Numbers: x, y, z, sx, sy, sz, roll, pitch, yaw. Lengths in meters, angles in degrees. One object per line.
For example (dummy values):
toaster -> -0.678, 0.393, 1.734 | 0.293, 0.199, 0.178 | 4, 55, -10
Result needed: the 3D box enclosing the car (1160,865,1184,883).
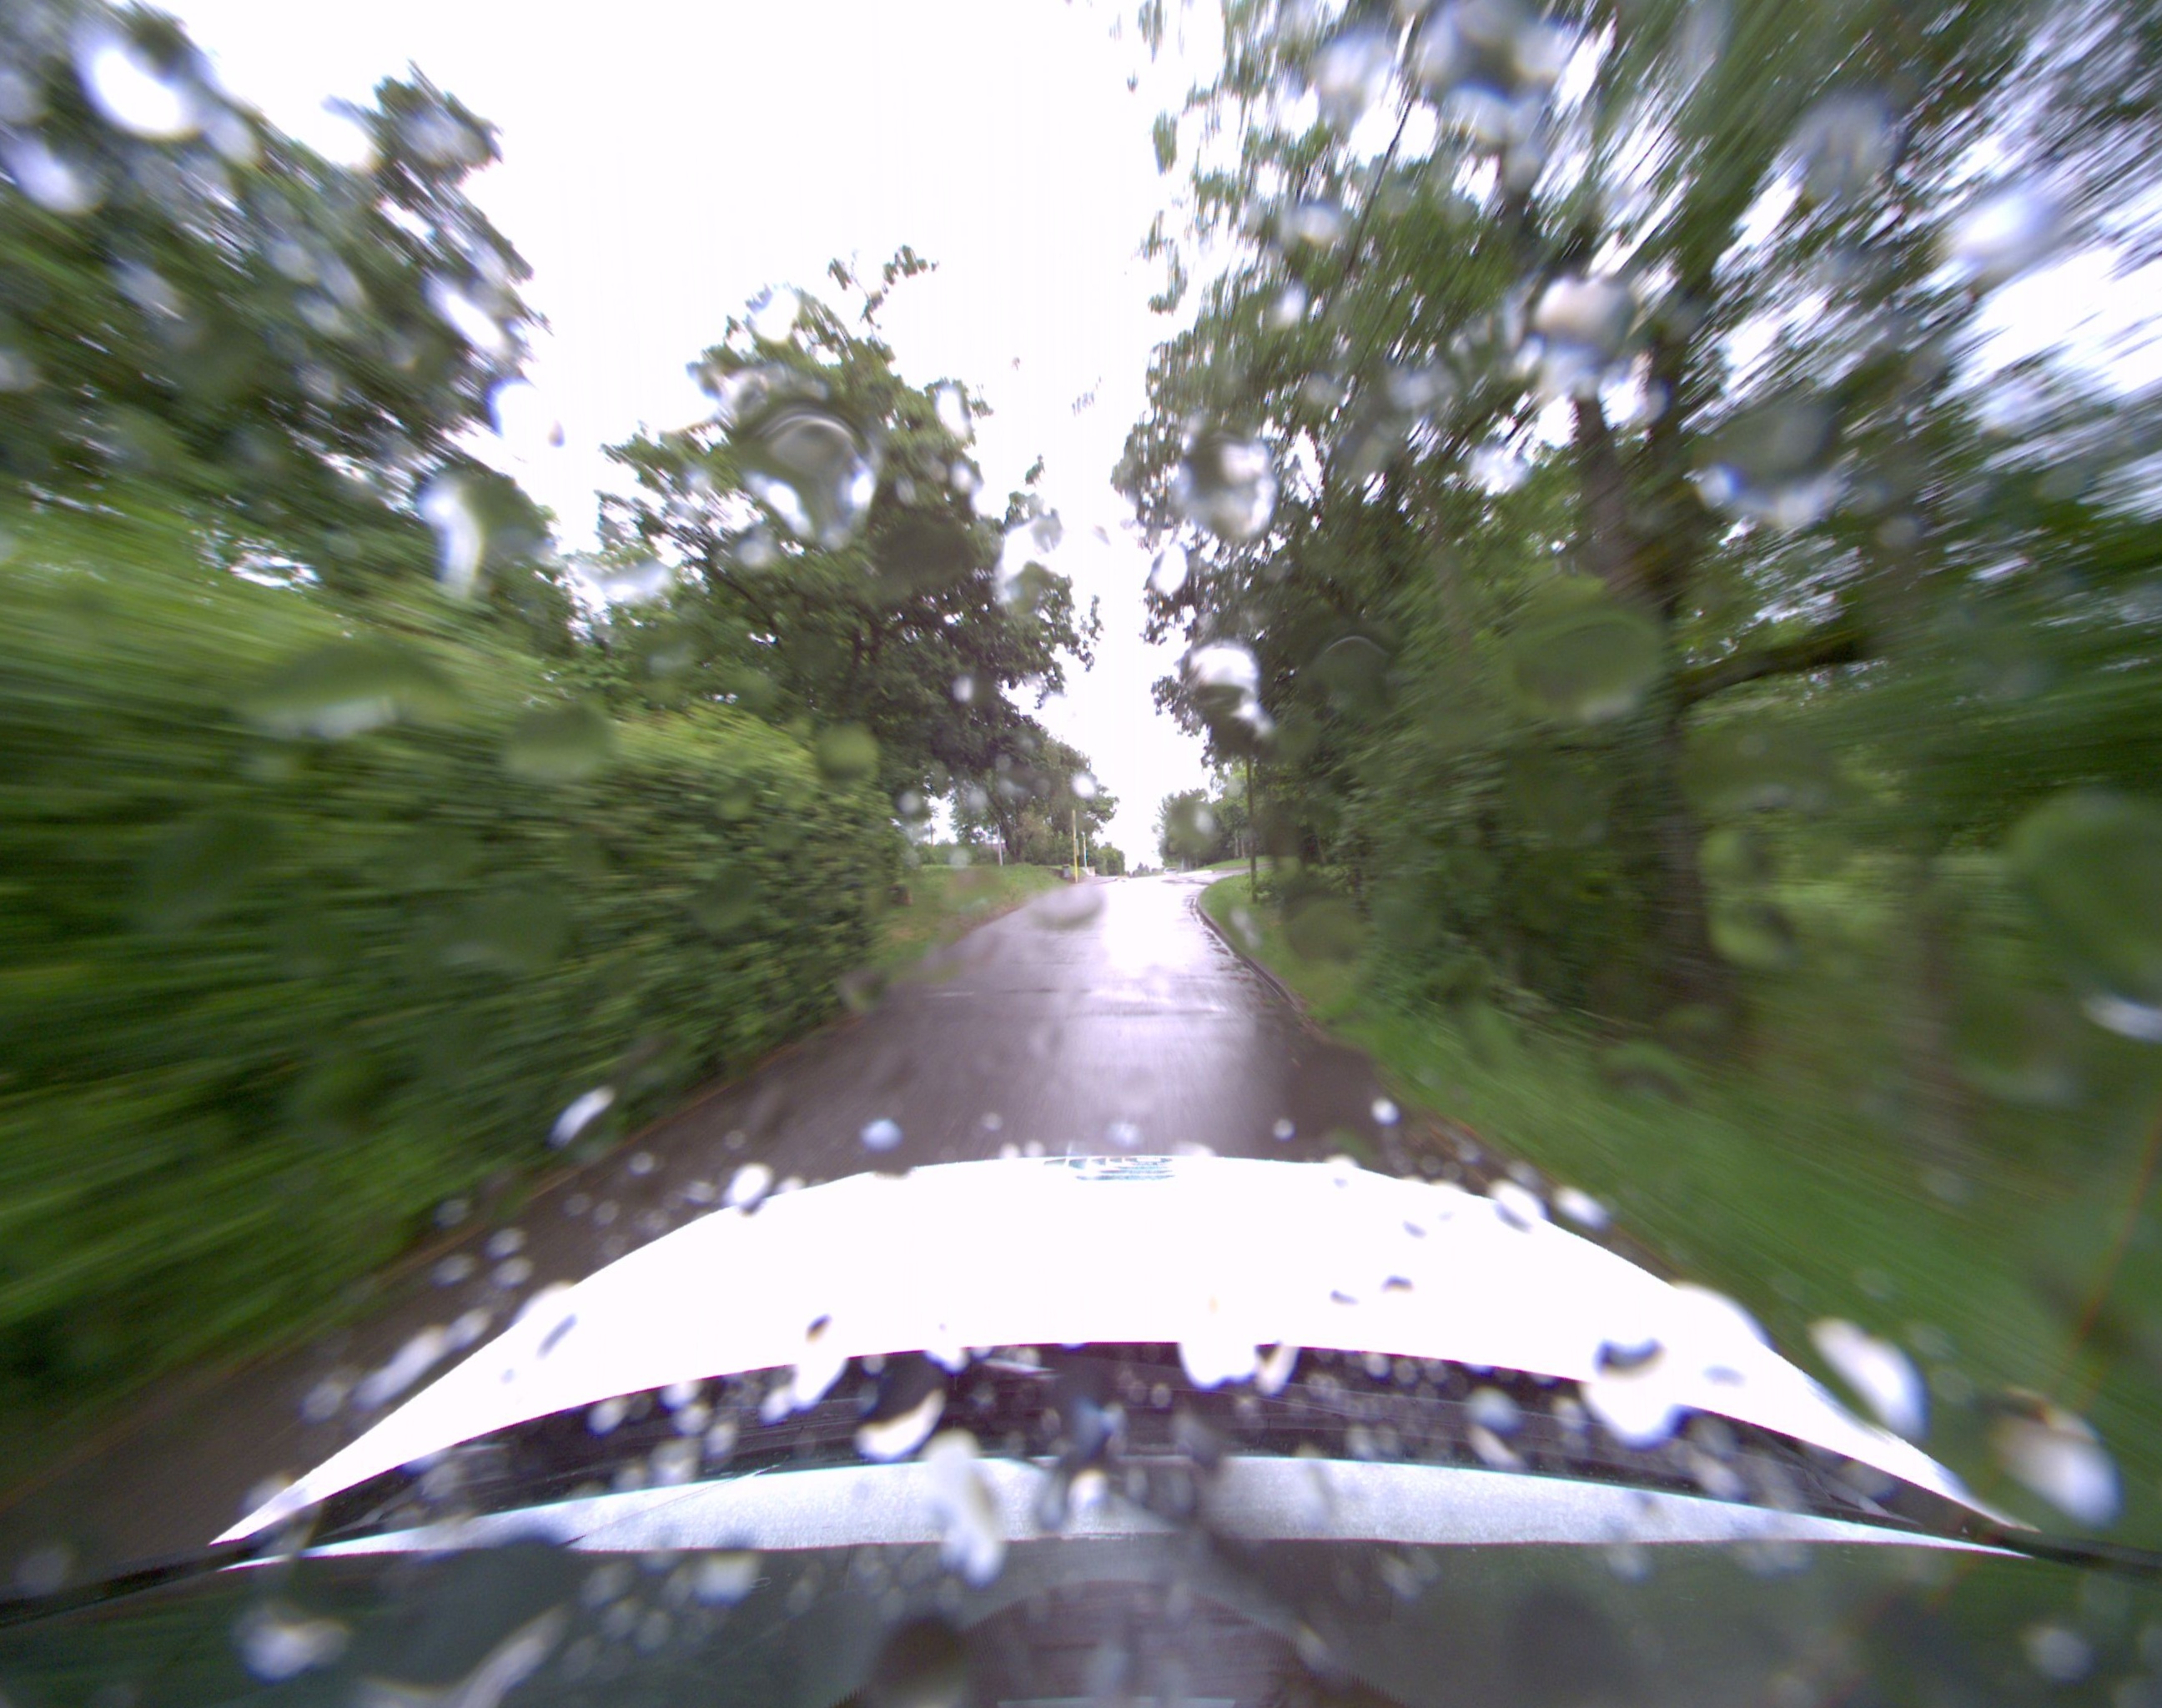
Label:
car -> 9.280, 2.018, 82.751 | 1.981, 1.583, 4.010 | -3, -4, 10
